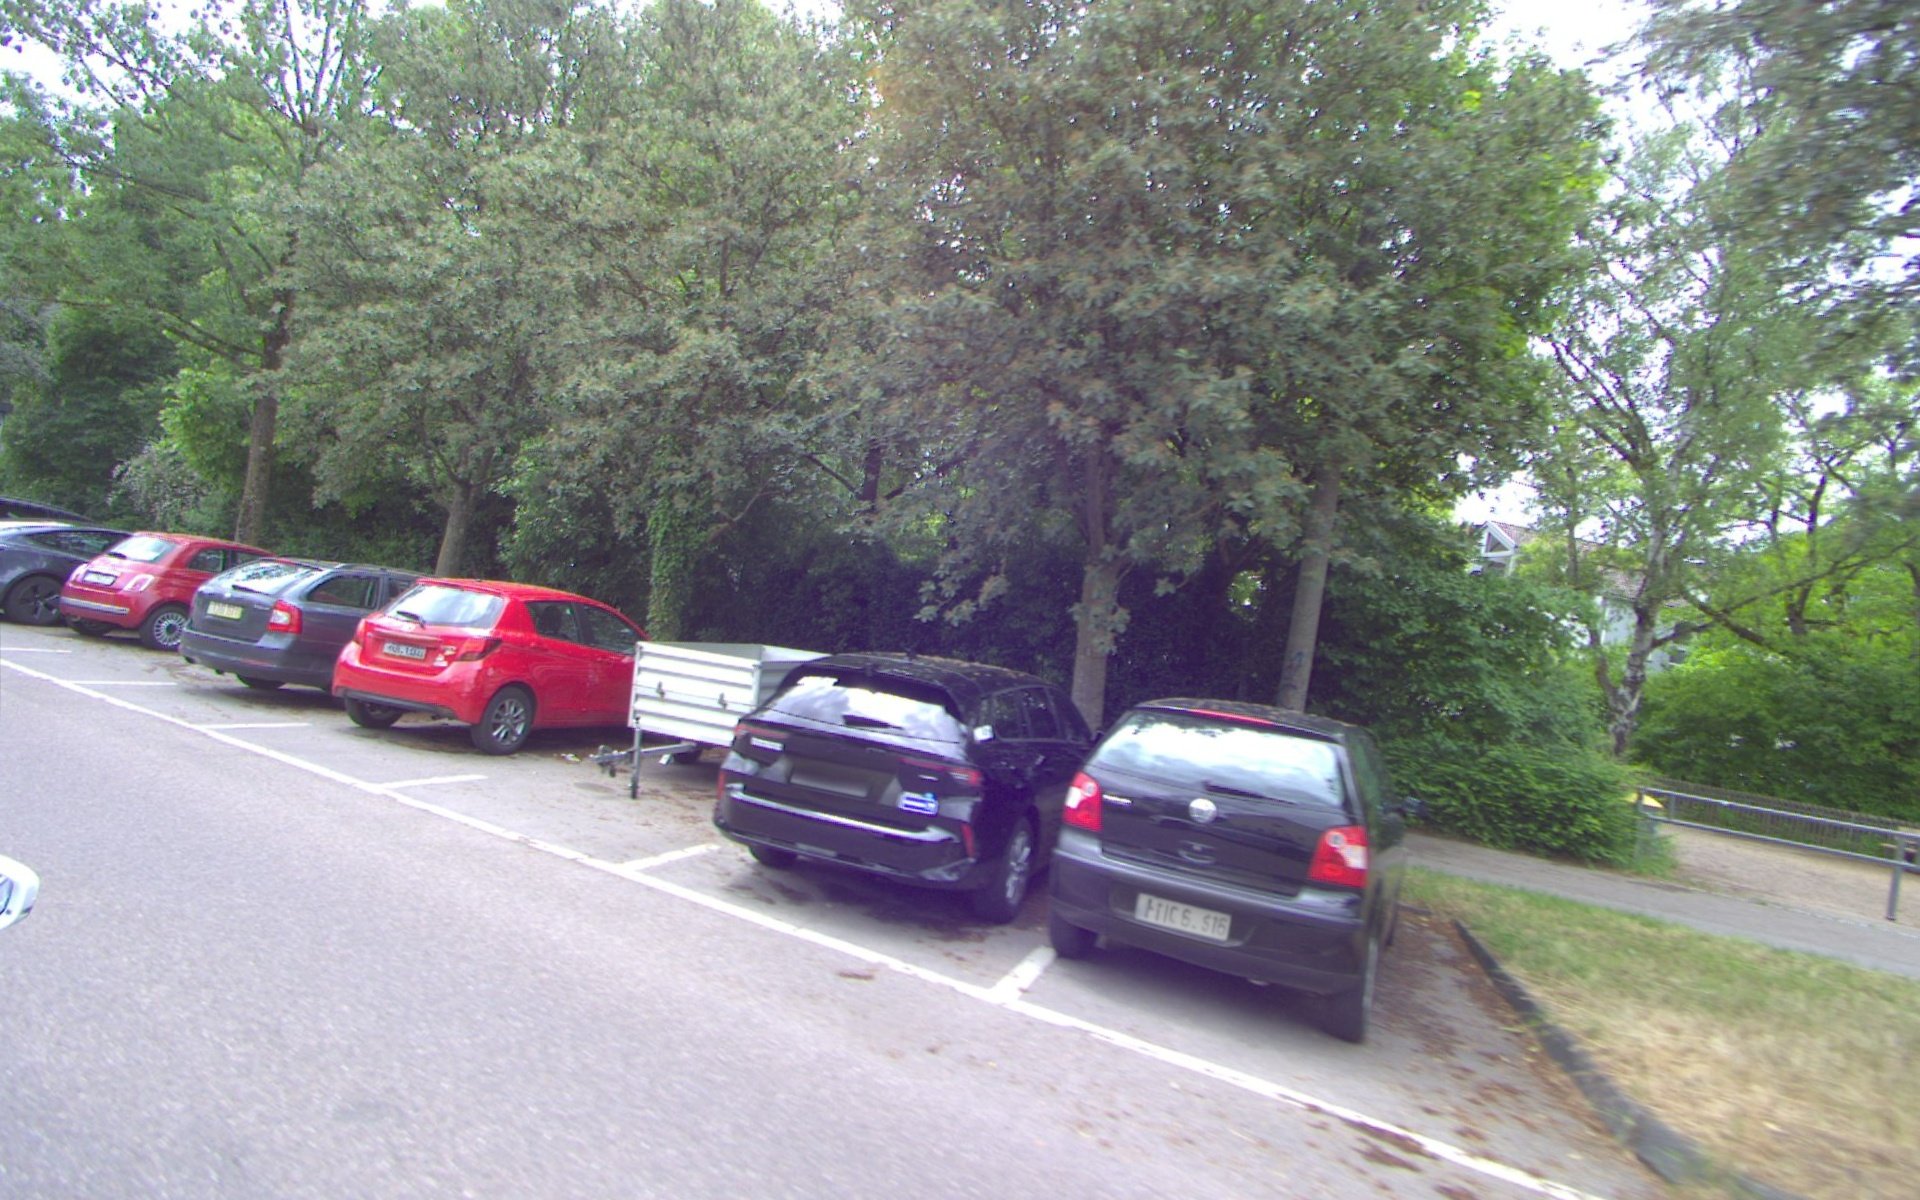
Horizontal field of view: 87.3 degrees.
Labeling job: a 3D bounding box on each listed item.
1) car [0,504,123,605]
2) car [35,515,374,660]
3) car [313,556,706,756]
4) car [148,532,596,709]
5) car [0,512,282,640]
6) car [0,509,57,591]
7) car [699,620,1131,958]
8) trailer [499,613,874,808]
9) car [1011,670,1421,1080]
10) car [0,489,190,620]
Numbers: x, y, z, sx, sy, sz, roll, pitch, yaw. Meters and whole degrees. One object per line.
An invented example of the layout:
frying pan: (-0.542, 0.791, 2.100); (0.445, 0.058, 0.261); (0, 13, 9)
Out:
car: (-17.118, -0.964, 17.228); (1.577, 1.546, 3.836); (7, -3, 25)
car: (-10.381, -0.085, 14.120); (1.604, 1.480, 3.342); (7, -3, 19)
car: (-4.315, 0.617, 10.276); (1.562, 1.492, 3.541); (8, -3, 17)
car: (-6.358, 0.386, 11.531); (1.604, 1.480, 4.239); (8, -3, 20)
car: (-12.541, -0.352, 14.631); (1.666, 1.422, 4.180); (7, -3, 18)
car: (-19.228, -1.160, 18.531); (1.530, 1.461, 3.441); (7, -3, 17)
car: (0.048, 1.150, 7.235); (1.547, 1.492, 4.155); (8, -3, 19)
trailer: (-2.300, 0.995, 9.395); (1.586, 1.280, 3.417); (7, -3, 20)
car: (1.859, 1.395, 6.249); (1.548, 1.492, 3.729); (8, -3, 27)
car: (-14.868, -0.808, 15.777); (1.649, 1.743, 4.004); (7, -3, 20)
